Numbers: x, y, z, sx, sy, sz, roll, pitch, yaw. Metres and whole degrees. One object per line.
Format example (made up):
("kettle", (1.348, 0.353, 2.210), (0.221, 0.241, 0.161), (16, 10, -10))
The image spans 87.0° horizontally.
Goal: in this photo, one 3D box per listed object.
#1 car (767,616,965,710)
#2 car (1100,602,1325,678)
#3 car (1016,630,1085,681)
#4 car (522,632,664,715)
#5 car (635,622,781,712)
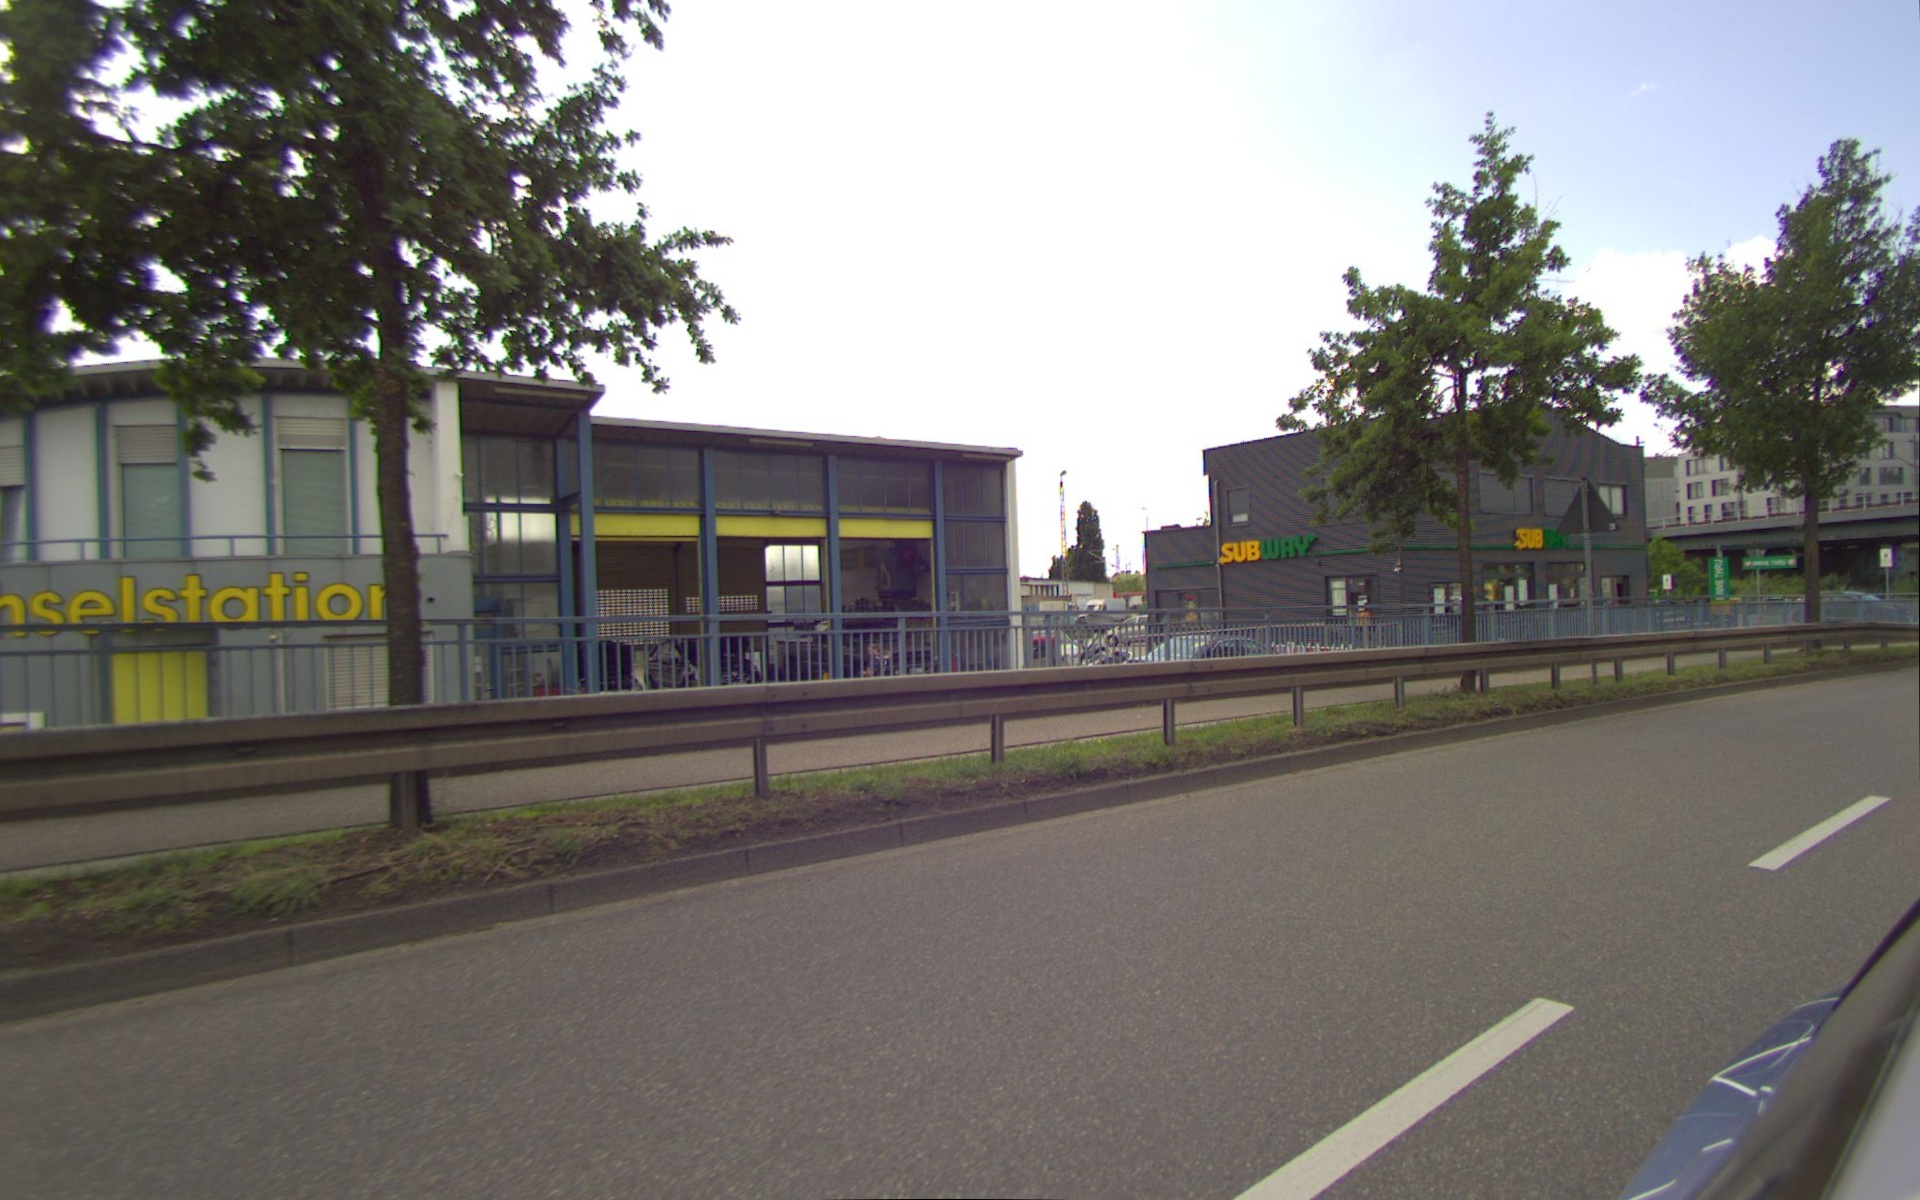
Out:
("car", (-2.555, 1.500, 25.883), (2.192, 2.039, 5.815), (-2, 0, -38))
("car", (5.359, 0.761, 21.248), (4.659, 1.376, 2.000), (-1, 0, -35))
("car", (2.790, 1.675, 31.581), (1.964, 1.301, 4.374), (-1, 0, 4))
("car", (-8.929, 1.667, 24.371), (2.121, 1.650, 4.788), (-1, 0, -34))
("car", (-6.691, 1.631, 26.468), (2.190, 2.039, 4.788), (-1, 0, -34))
